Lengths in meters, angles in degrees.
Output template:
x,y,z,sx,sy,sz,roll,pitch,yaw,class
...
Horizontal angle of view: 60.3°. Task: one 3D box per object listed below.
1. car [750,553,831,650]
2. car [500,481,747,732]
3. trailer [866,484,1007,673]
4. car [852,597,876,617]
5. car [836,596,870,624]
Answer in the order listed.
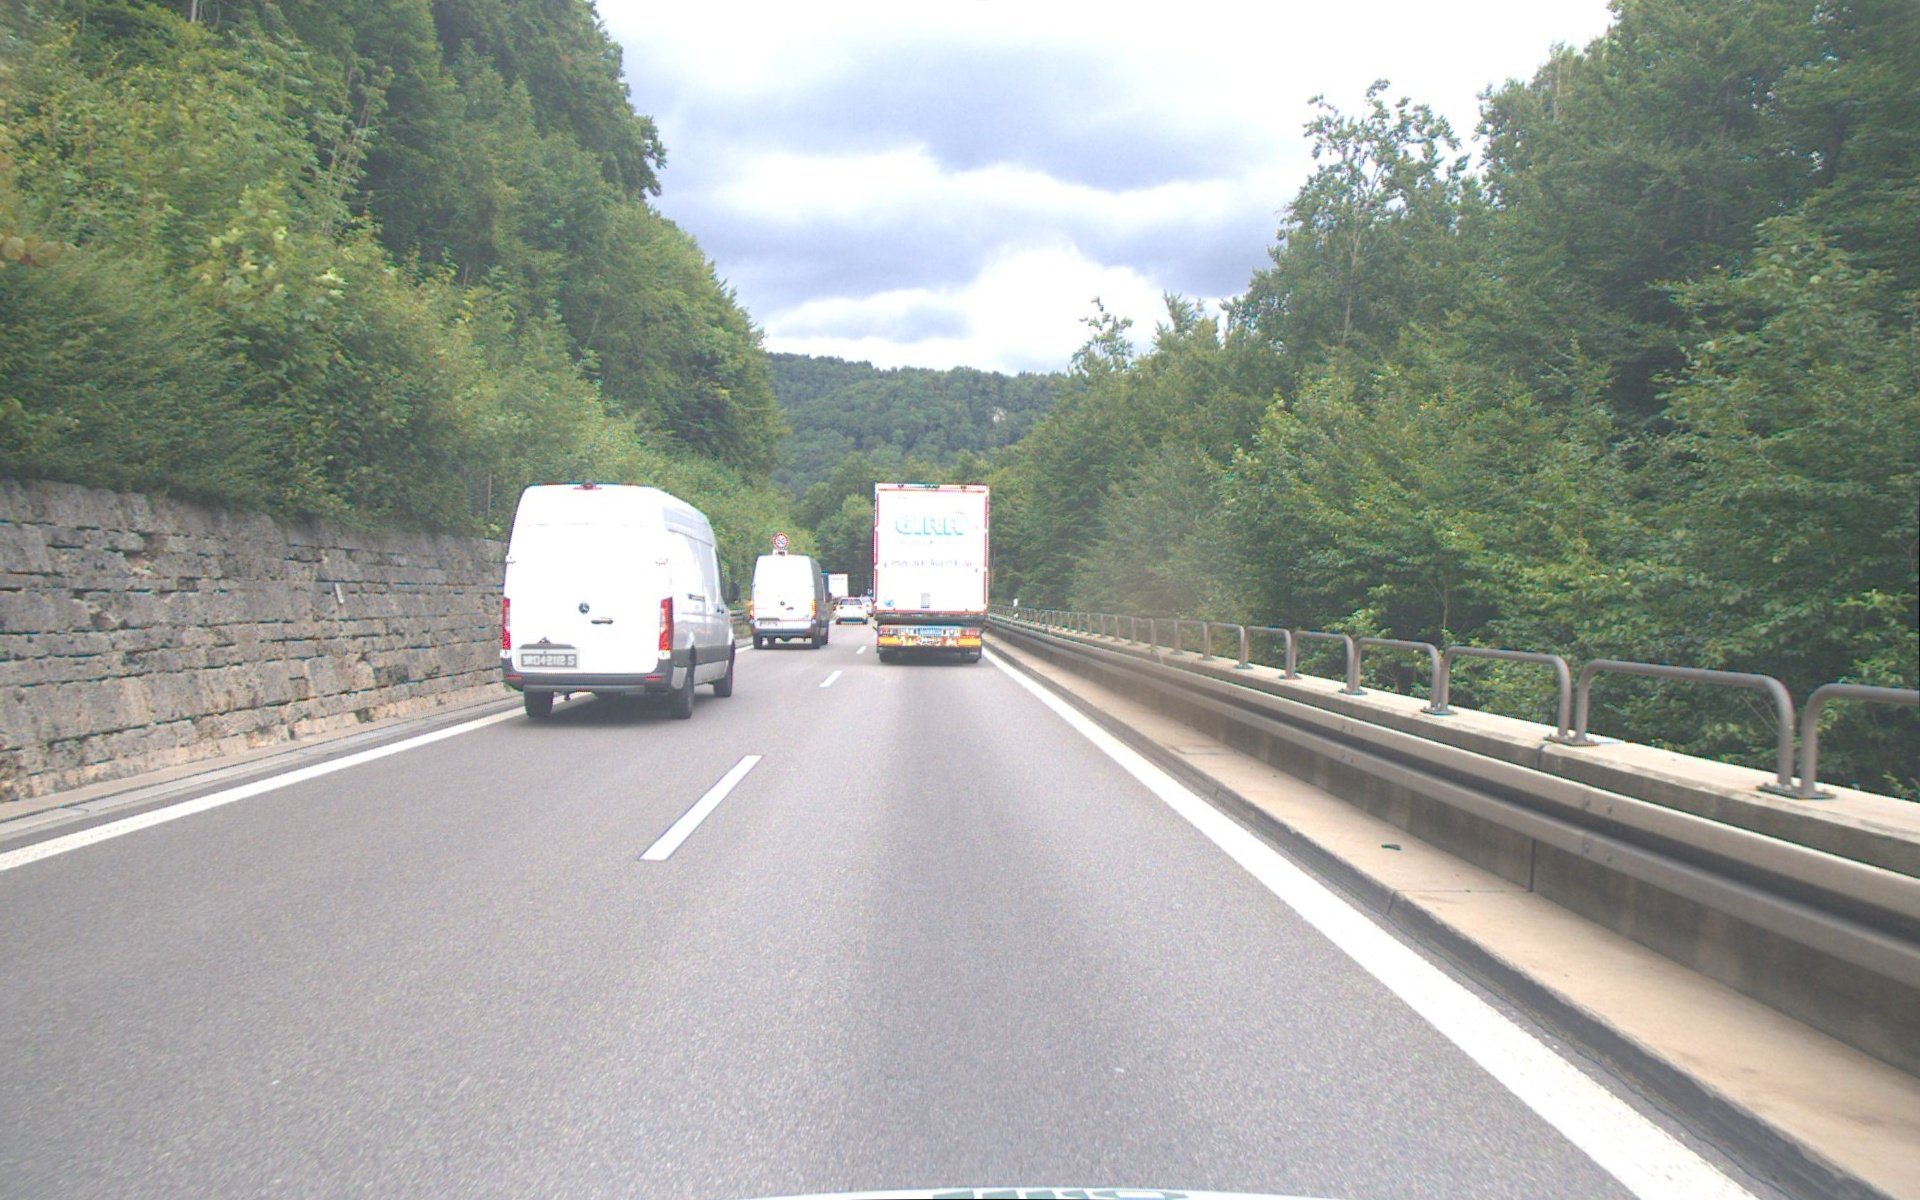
x,y,z,sx,sy,sz,roll,pitch,yaw,class
-5.023,0.031,49.712,1.900,2.719,5.990,0,0,-1,car
-4.110,0.062,21.506,1.949,2.719,6.934,0,0,-2,car
-0.649,-0.609,42.107,2.995,4.055,12.134,1,1,-1,trailer
-7.302,0.527,126.135,1.697,1.446,3.998,1,0,-2,car
-5.926,0.539,91.926,1.697,1.446,3.999,1,0,-1,car
